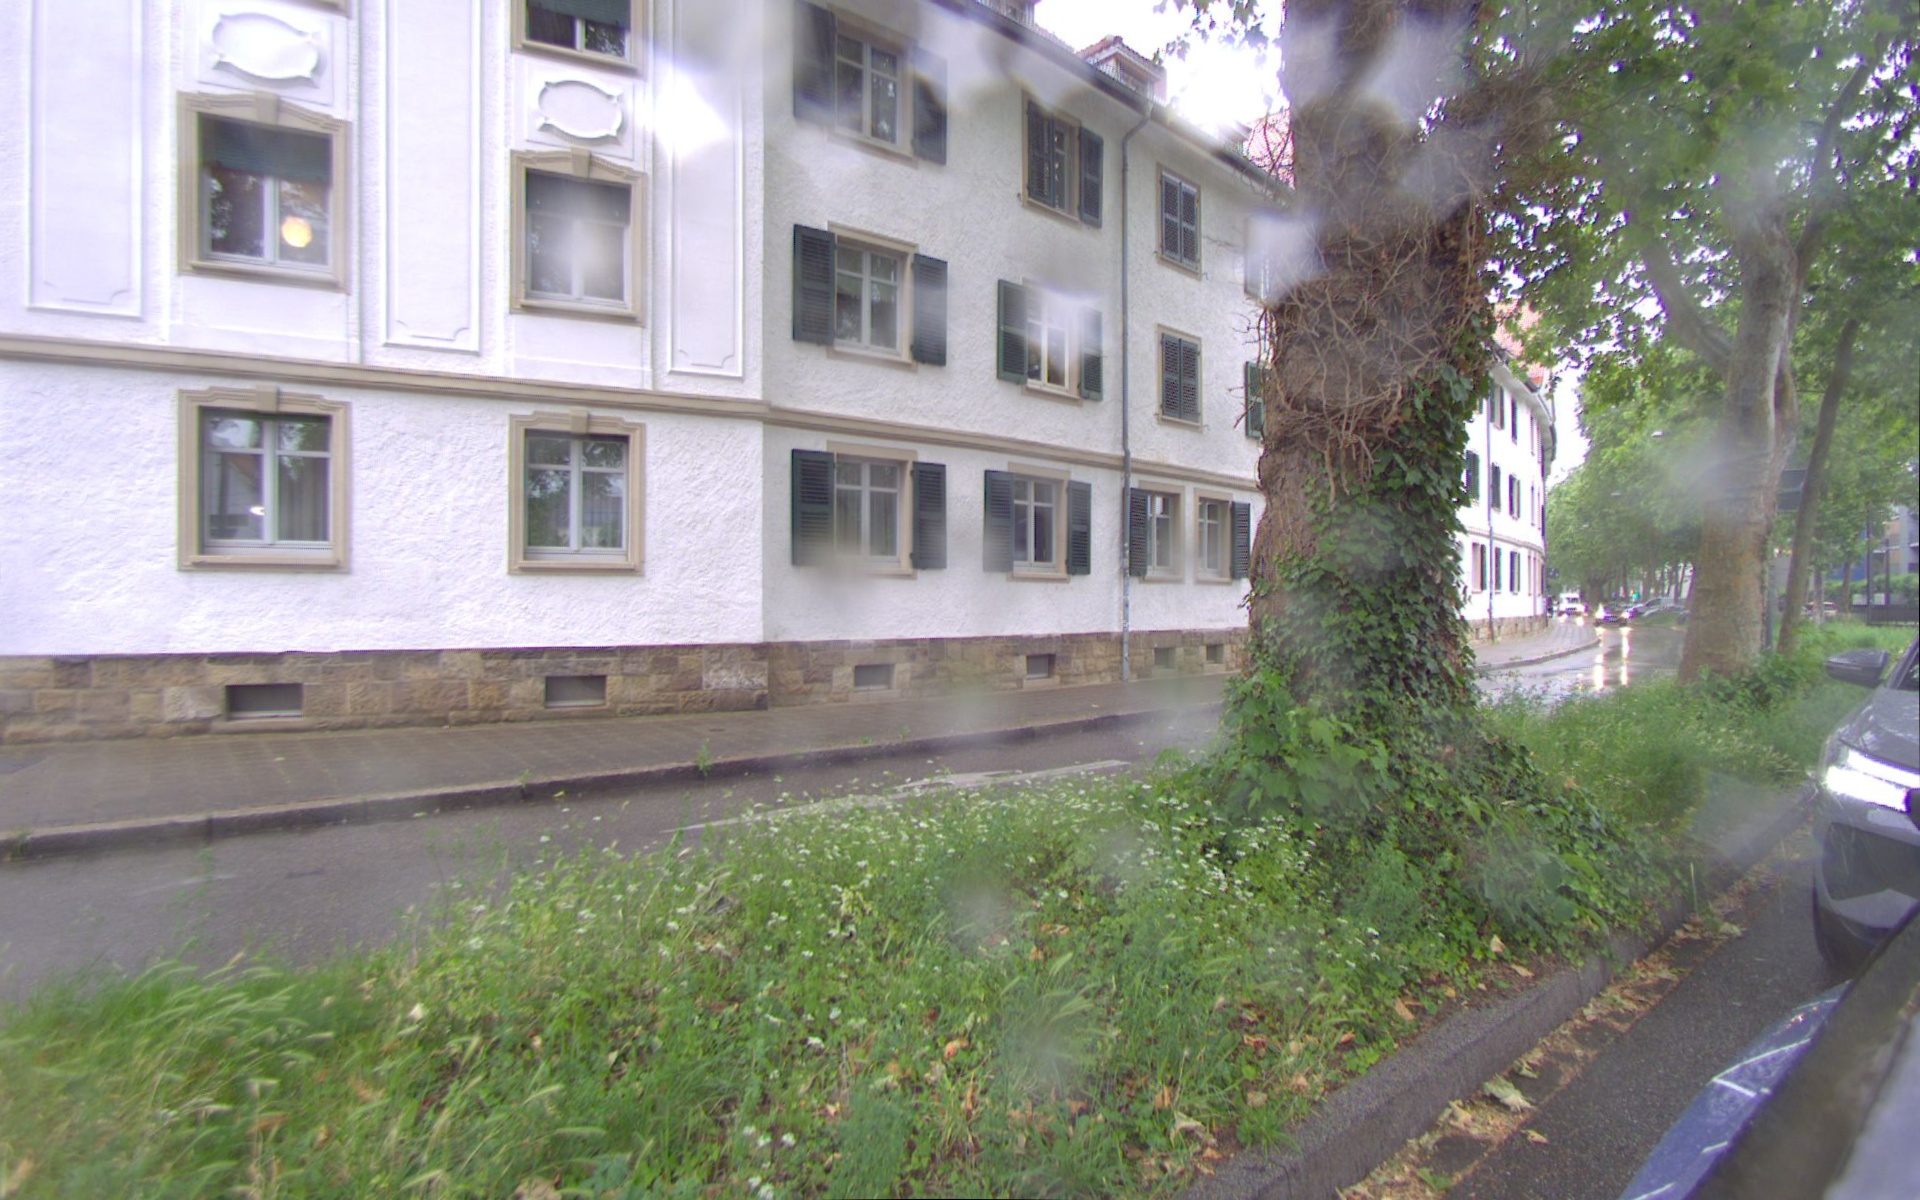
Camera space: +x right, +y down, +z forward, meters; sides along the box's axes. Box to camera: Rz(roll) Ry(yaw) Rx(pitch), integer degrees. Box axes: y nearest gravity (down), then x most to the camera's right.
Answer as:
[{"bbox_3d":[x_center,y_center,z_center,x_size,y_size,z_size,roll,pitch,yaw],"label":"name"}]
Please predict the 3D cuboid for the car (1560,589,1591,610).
[{"bbox_3d":[66.426,-0.069,109.211,2.173,2.292,5.367,0,0,24],"label":"car"}]

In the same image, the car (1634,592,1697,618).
[{"bbox_3d":[55.901,0.379,80.300,3.969,2.039,1.977,0,-1,32],"label":"car"}]

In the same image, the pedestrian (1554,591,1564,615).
[{"bbox_3d":[46.803,0.221,79.105,0.668,1.845,0.672,0,0,31],"label":"pedestrian"}]

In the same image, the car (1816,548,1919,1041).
[{"bbox_3d":[5.159,0.646,4.298,4.039,1.662,1.913,0,0,-44],"label":"car"}]

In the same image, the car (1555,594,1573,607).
[{"bbox_3d":[76.756,0.077,128.660,1.816,1.545,3.959,0,1,29],"label":"car"}]

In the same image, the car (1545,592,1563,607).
[{"bbox_3d":[82.979,-0.081,141.479,1.981,2.039,3.961,0,0,28],"label":"car"}]
